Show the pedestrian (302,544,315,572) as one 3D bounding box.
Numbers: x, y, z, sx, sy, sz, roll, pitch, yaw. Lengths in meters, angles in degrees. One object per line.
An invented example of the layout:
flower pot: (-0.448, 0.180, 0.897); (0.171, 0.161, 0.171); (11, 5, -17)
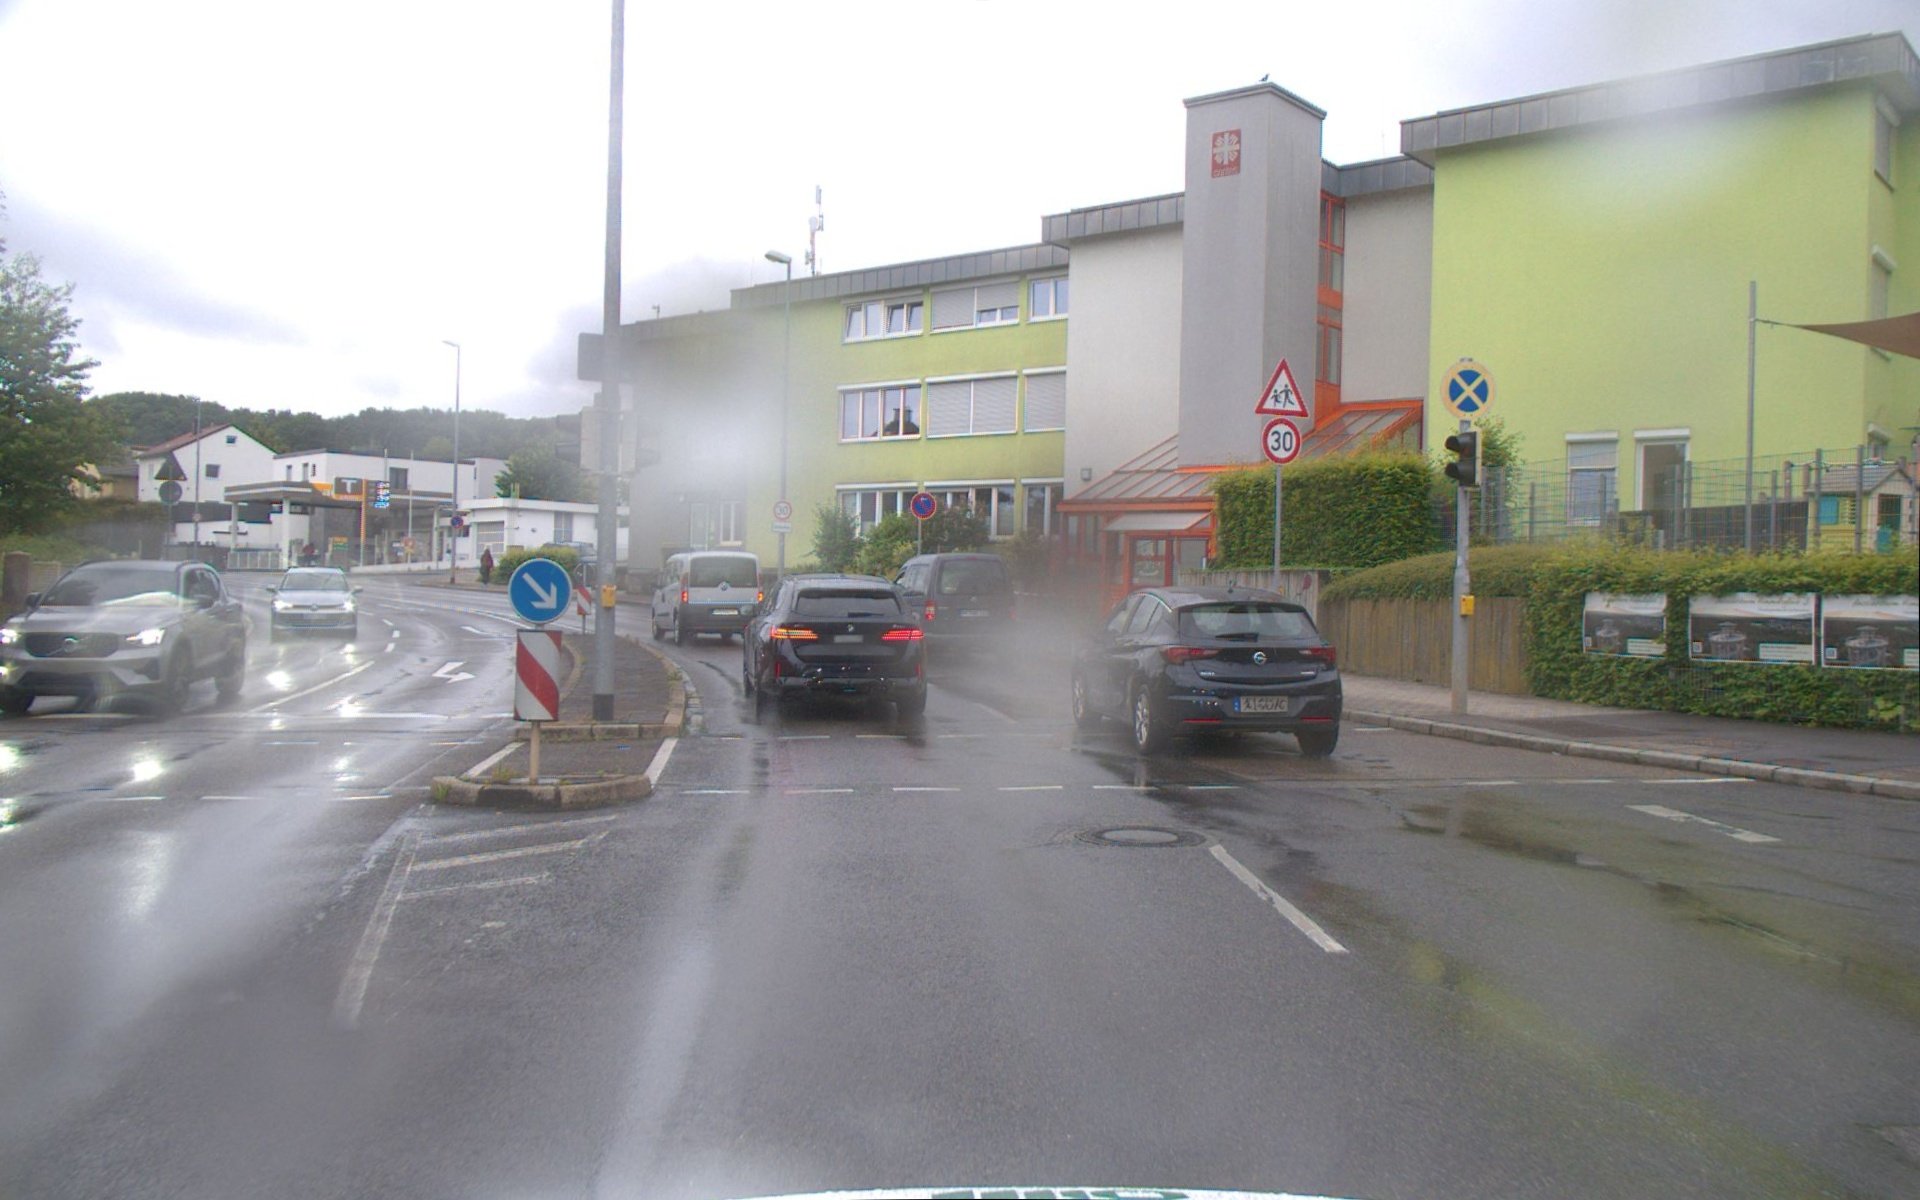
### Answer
pedestrian: (-39.458, -2.519, 100.195); (0.603, 1.685, 0.579); (1, -1, -31)

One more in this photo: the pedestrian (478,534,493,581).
pedestrian: (-20.854, -1.878, 72.728); (0.603, 2.049, 0.714); (1, -1, -17)

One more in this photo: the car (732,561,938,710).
car: (-1.537, 0.379, 18.903); (1.957, 1.510, 3.990); (1, 0, -10)

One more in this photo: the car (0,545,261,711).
car: (-9.622, 0.303, 19.236); (1.849, 1.707, 4.220); (1, 0, -11)

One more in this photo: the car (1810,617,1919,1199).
car: (3.141, 0.766, 1.872); (1.828, 1.449, 4.737); (1, 0, -2)

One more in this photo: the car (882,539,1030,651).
car: (-0.153, -0.068, 28.916); (1.806, 1.798, 3.988); (1, 0, -12)

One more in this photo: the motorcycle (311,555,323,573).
motorcycle: (-39.006, -2.200, 100.328); (0.458, 1.074, 1.375); (1, -1, -31)

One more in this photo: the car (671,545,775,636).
car: (-4.986, -0.177, 34.399); (1.958, 1.768, 3.989); (1, 0, -11)

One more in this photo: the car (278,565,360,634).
car: (-14.786, 0.004, 38.293); (1.651, 1.475, 4.660); (1, 0, -20)

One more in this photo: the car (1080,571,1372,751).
car: (2.356, 0.493, 15.700); (1.723, 1.474, 3.995); (1, 0, -6)
